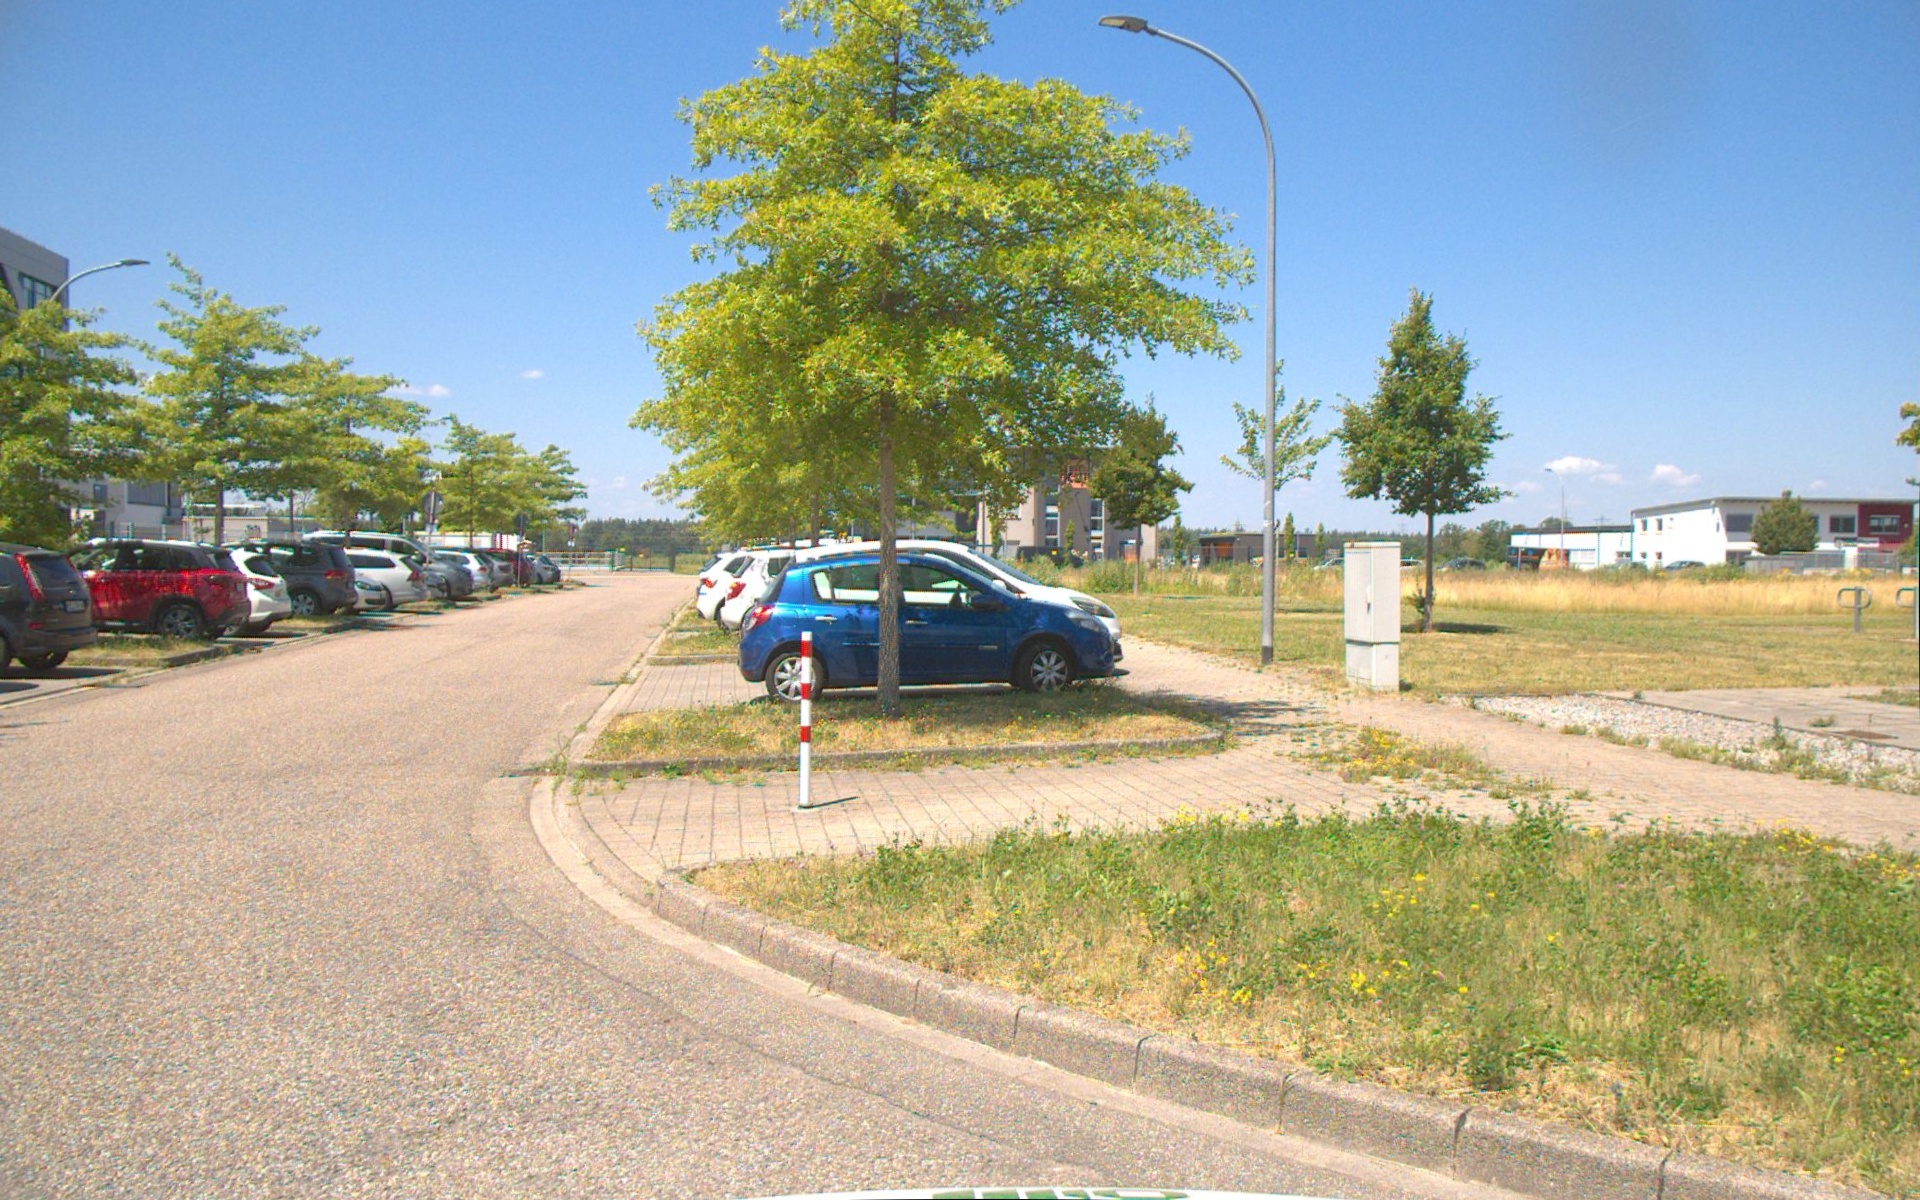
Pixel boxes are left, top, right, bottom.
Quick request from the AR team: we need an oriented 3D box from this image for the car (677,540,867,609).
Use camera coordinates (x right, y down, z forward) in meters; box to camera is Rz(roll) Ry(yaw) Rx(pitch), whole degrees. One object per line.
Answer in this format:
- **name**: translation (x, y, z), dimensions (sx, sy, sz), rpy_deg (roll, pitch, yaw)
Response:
- **car**: translation (-4.828, -0.670, 42.279), dimensions (4.634, 1.588, 1.908), rpy_deg (-2, 2, -12)

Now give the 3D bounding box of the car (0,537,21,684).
- **car**: translation (-12.419, 0.078, 17.616), dimensions (3.770, 1.621, 1.824), rpy_deg (2, 1, -12)

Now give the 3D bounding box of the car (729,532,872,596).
- **car**: translation (-4.982, -1.125, 51.472), dimensions (4.320, 1.861, 1.793), rpy_deg (-2, 1, -8)

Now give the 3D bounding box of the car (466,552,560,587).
- **car**: translation (-20.559, -1.424, 76.245), dimensions (4.004, 1.448, 1.868), rpy_deg (2, 1, -12)

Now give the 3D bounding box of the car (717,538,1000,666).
- **car**: translation (-1.394, -0.019, 22.303), dimensions (3.556, 1.488, 1.606), rpy_deg (-3, 2, -13)

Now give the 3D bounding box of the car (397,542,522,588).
- **car**: translation (-18.319, -1.291, 60.652), dimensions (4.115, 1.506, 1.710), rpy_deg (2, 1, -8)

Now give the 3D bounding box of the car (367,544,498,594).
- **car**: translation (-17.682, -1.038, 55.596), dimensions (3.965, 1.486, 1.600), rpy_deg (2, 1, -12)

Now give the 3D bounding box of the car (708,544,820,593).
- **car**: translation (-7.454, -1.207, 62.666), dimensions (4.097, 1.726, 1.778), rpy_deg (-2, 2, -10)

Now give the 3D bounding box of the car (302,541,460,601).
- **car**: translation (-16.304, -0.822, 46.719), dimensions (3.895, 1.509, 1.761), rpy_deg (2, 1, -8)

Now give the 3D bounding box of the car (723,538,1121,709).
- **car**: translation (-0.417, 0.196, 17.355), dimensions (3.918, 1.516, 1.726), rpy_deg (-3, 2, -5)

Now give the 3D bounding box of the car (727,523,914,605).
- **car**: translation (-3.087, -0.798, 36.366), dimensions (3.971, 1.653, 1.690), rpy_deg (-2, 2, -8)

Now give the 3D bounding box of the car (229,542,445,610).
- **car**: translation (-15.064, -0.593, 40.232), dimensions (4.629, 1.472, 1.852), rpy_deg (2, 1, -12)

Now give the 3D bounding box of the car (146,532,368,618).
- **car**: translation (-15.005, -0.546, 35.491), dimensions (4.042, 1.663, 1.724), rpy_deg (2, 1, -10)

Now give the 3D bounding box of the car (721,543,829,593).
- **car**: translation (-6.728, -1.175, 60.044), dimensions (3.803, 1.707, 1.779), rpy_deg (-2, 2, -8)

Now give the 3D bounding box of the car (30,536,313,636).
- **car**: translation (-13.807, -0.262, 29.162), dimensions (4.093, 1.539, 1.805), rpy_deg (2, 2, -7)

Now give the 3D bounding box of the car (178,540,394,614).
- **car**: translation (-15.212, -0.536, 37.534), dimensions (4.233, 1.498, 1.723), rpy_deg (2, 1, -11)

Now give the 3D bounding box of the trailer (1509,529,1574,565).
- **trailer**: translation (42.969, -3.909, 122.276), dimensions (3.914, 2.645, 2.228), rpy_deg (0, 2, -10)

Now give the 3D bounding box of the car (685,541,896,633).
- **car**: translation (-3.067, -0.267, 30.507), dimensions (3.758, 1.580, 1.779), rpy_deg (-1, 2, -3)

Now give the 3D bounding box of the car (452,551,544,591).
- **car**: translation (-19.382, -1.234, 69.516), dimensions (3.592, 1.535, 1.726), rpy_deg (2, 1, -12)

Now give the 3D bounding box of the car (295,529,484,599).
- **car**: translation (-17.024, -1.085, 49.575), dimensions (4.973, 1.924, 1.994), rpy_deg (1, 1, -7)

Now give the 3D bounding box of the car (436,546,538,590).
- **car**: translation (-19.100, -1.304, 66.916), dimensions (3.667, 1.649, 1.813), rpy_deg (2, 1, -8)

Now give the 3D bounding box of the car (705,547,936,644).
- **car**: translation (-2.396, -0.108, 28.075), dimensions (3.763, 1.550, 1.776), rpy_deg (-1, 2, -9)

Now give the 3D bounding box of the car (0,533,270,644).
- **car**: translation (-13.265, -0.197, 26.483), dimensions (3.770, 1.619, 1.723), rpy_deg (2, 1, -11)

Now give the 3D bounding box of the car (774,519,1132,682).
- **car**: translation (-0.109, -0.035, 19.770), dimensions (4.028, 1.678, 1.773), rpy_deg (-3, 2, -4)

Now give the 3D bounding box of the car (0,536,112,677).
- **car**: translation (-12.649, 0.007, 20.030), dimensions (3.834, 1.619, 1.724), rpy_deg (2, 1, -9)

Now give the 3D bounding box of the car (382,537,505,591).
- **car**: translation (-17.979, -1.246, 57.730), dimensions (3.919, 1.707, 1.771), rpy_deg (2, 1, -14)
